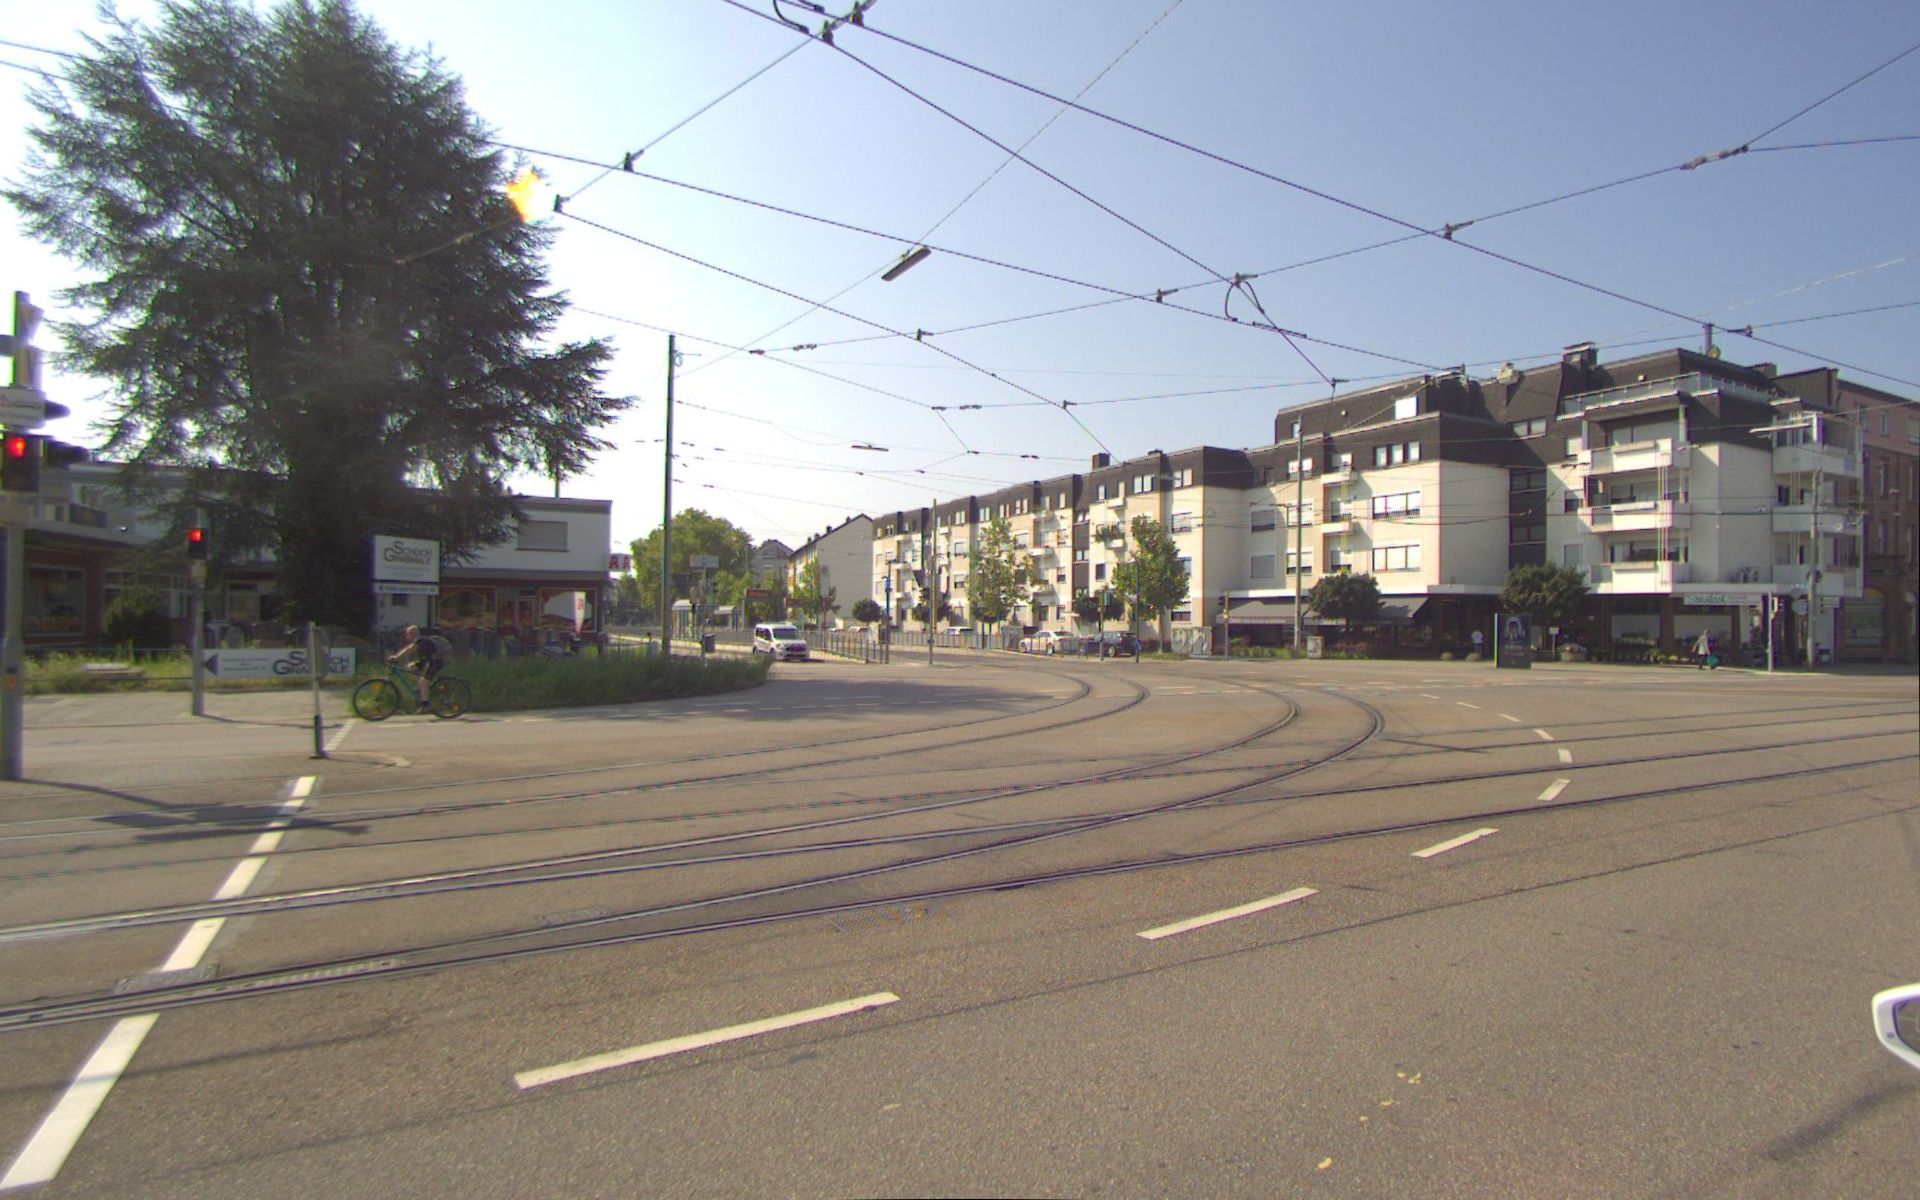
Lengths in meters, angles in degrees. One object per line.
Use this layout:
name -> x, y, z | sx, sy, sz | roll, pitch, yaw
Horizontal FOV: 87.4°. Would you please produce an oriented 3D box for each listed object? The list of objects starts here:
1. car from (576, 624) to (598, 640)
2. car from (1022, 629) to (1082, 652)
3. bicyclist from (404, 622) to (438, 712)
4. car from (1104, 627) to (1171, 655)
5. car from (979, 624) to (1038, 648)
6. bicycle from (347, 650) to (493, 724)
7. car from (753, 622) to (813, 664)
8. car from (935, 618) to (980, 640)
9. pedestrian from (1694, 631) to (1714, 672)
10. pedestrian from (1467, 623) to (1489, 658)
car -> -36.952, 3.213, 99.409 | 1.704, 1.527, 3.975 | 1, -3, -26
car -> 5.640, 2.517, 61.965 | 1.654, 1.316, 4.090 | 2, -4, -31
bicyclist -> -9.358, 1.159, 17.453 | 0.483, 1.543, 0.566 | 1, -3, -28
car -> 10.943, 2.518, 62.099 | 1.907, 1.527, 4.090 | 2, 0, -29
car -> 3.203, 2.441, 67.228 | 1.848, 1.554, 4.351 | 2, -3, -30
bicycle -> -9.339, 1.484, 17.454 | 2.180, 1.195, 0.573 | 1, -3, -28
car -> -8.678, 2.073, 49.013 | 1.800, 1.911, 3.999 | 1, -1, -27
car -> -0.200, 2.176, 73.436 | 1.653, 1.500, 3.888 | 1, -3, -29
pedestrian -> 32.659, 2.260, 44.092 | 0.589, 1.768, 0.565 | -2, -3, 27
pedestrian -> 26.338, 2.062, 51.093 | 0.689, 1.764, 0.677 | 1, -3, -28
